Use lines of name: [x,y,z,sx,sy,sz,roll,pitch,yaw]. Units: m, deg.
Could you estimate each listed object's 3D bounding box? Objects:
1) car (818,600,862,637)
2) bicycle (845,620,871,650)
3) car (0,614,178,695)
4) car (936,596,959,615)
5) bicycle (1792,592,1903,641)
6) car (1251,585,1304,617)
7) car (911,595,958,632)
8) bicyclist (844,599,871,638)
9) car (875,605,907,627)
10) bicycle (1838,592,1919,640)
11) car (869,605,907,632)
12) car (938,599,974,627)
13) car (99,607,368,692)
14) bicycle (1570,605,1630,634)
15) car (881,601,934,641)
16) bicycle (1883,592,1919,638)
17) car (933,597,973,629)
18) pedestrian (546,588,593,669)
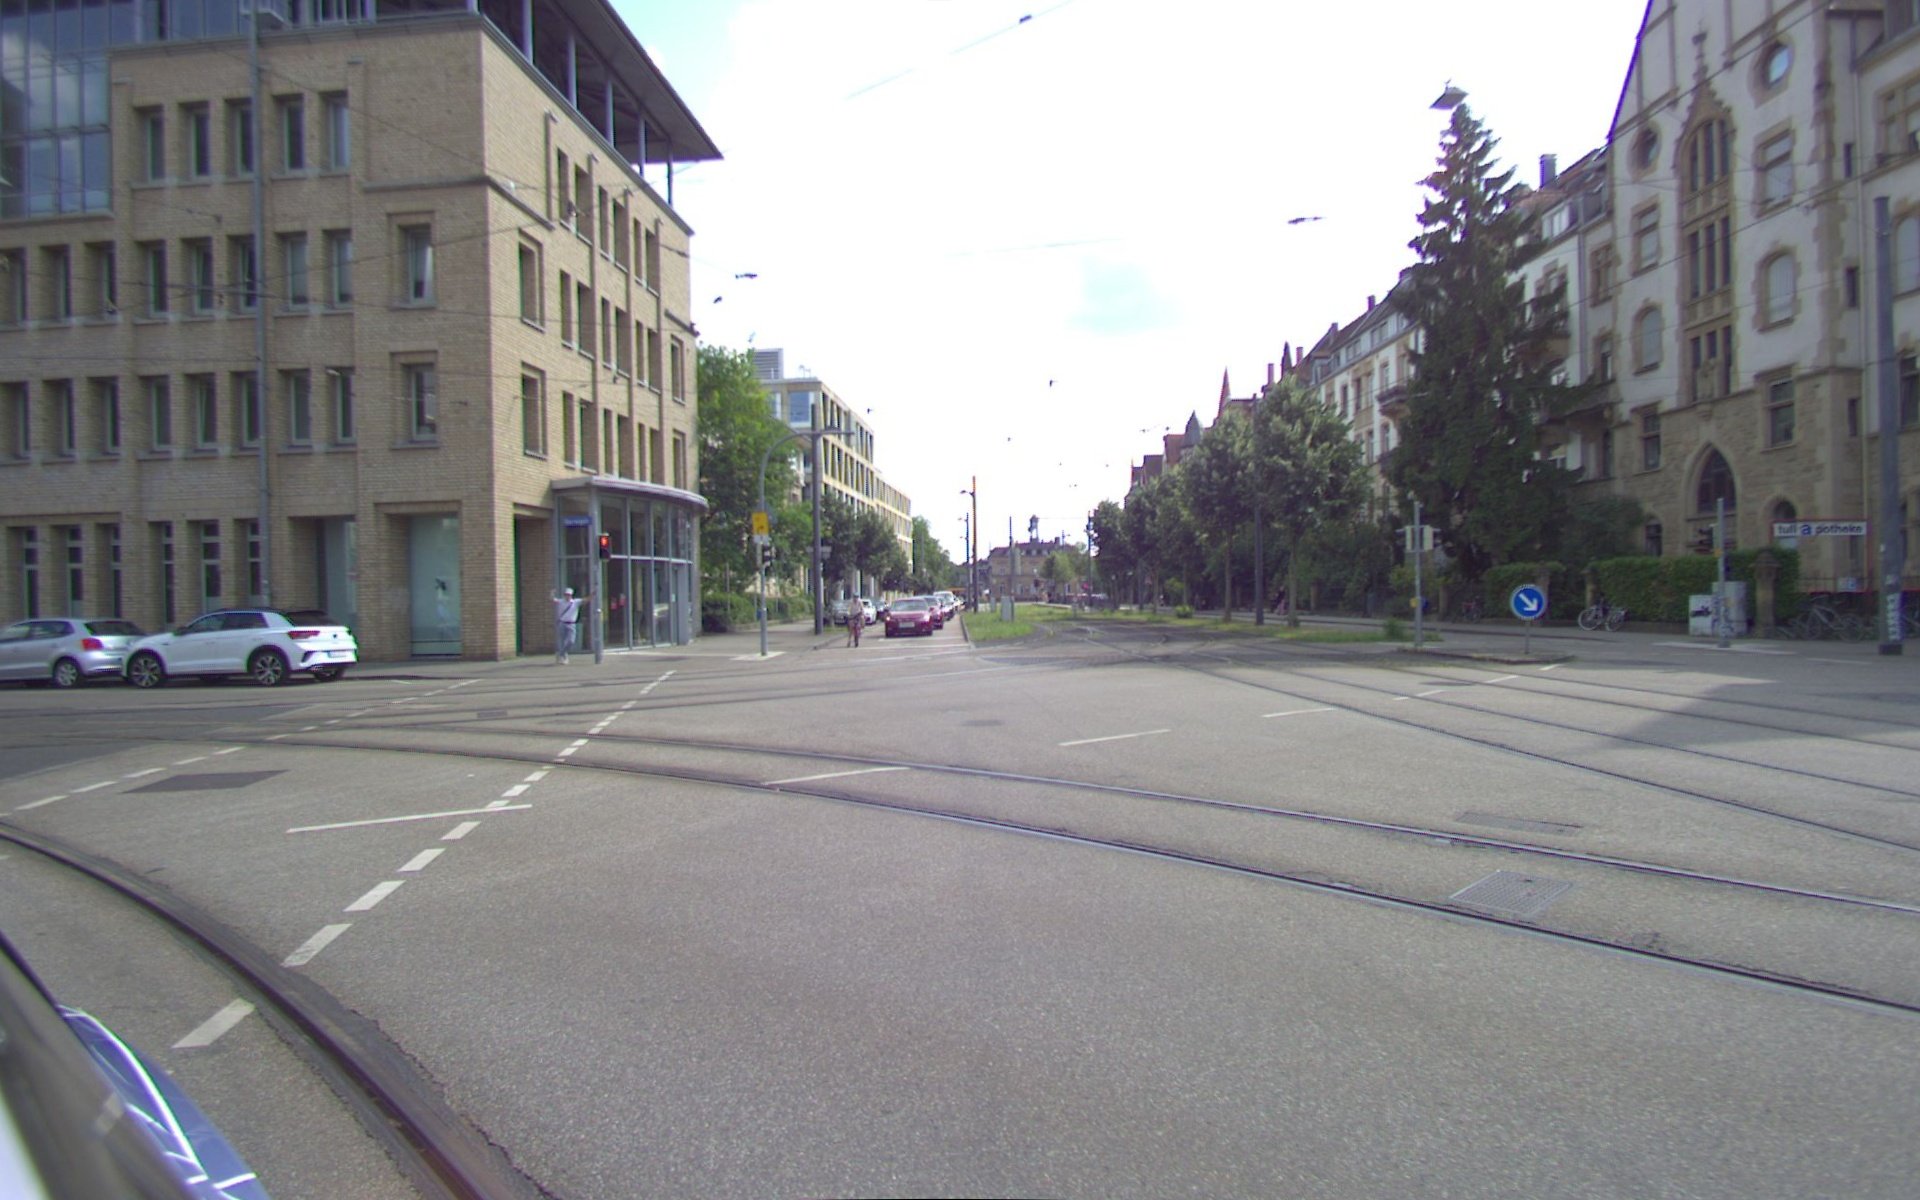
car: [-5.562,0.825,47.414,1.862,1.584,4.004,-1,0,-4]
bicycle: [-3.112,1.056,30.967,0.707,0.833,2.150,-1,0,-4]
car: [-18.842,1.111,20.968,3.966,1.542,1.935,-1,0,7]
car: [-1.144,0.482,89.386,1.971,1.563,4.001,-1,0,-1]
bicycle: [20.798,0.392,23.770,0.767,1.089,1.924,-1,-1,-5]
car: [19.054,0.082,60.883,1.799,1.807,4.001,-1,-1,-1]
car: [-1.150,0.579,45.630,1.971,1.563,4.001,-1,0,-1]
bicyclist: [-3.133,0.549,31.069,0.764,1.156,0.899,-1,0,-3]
car: [-4.348,0.970,64.182,1.800,1.298,4.001,-1,0,-1]
bicycle: [22.050,0.371,23.933,0.767,1.089,1.924,-1,-1,-5]
car: [-3.748,0.949,53.451,1.800,1.298,4.001,-1,0,-1]
car: [-0.255,0.740,59.510,1.971,1.563,4.001,-1,0,-1]
car: [-14.505,0.963,20.336,4.206,1.546,1.935,-1,0,7]
bicycle: [19.514,0.595,30.910,0.463,0.854,1.924,-1,-1,-5]
car: [-2.024,0.757,38.230,1.862,1.386,4.004,-1,0,-4]
bicycle: [23.182,0.351,23.967,0.767,1.089,1.924,-1,-1,-5]
car: [-0.420,0.664,53.455,1.971,1.563,4.001,-1,0,-1]
pedestrian: [-8.870,0.635,23.043,0.943,1.809,0.765,-1,0,-19]
